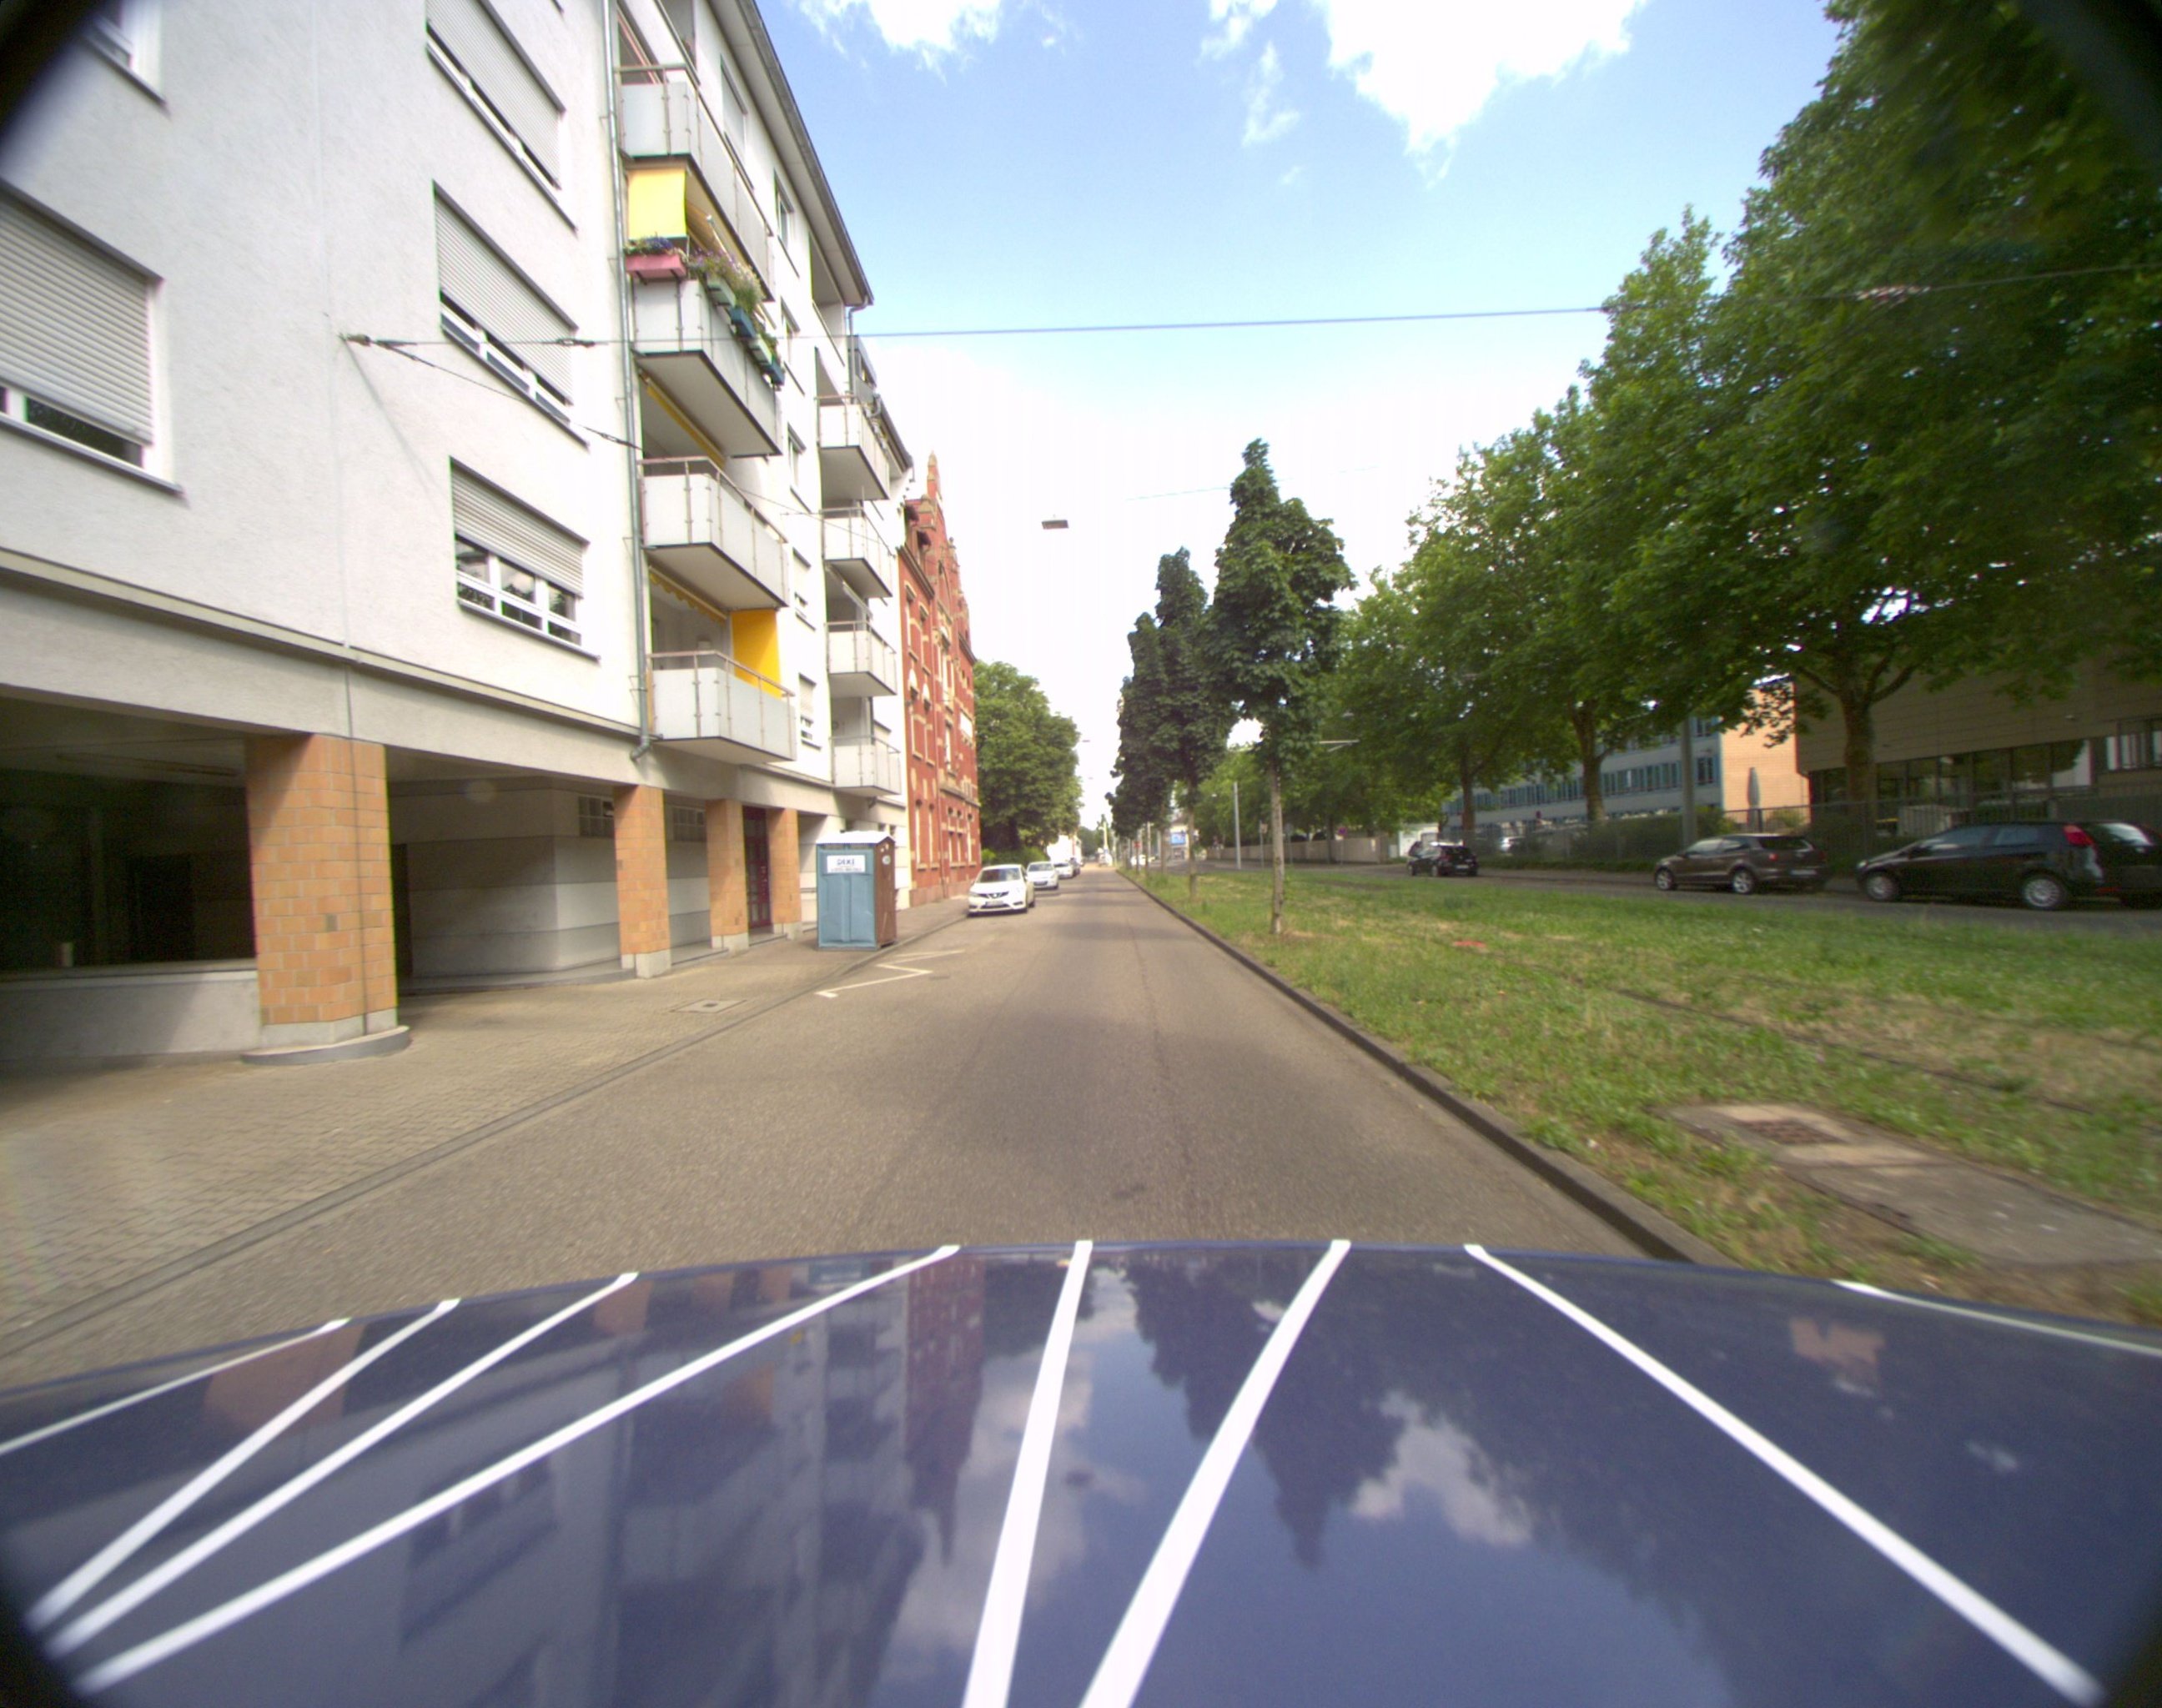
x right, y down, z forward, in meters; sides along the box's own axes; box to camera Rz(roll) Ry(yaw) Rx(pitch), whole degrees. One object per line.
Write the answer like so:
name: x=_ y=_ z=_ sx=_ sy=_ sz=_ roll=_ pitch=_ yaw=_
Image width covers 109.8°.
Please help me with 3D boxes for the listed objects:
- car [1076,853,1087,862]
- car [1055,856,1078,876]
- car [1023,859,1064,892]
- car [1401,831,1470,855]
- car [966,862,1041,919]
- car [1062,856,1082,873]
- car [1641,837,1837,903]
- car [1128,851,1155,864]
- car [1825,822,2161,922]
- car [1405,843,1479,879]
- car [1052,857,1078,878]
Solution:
car: x=0.091 y=0.586 z=136.851 sx=1.801 sy=1.521 sz=4.041 roll=-5 pitch=0 yaw=1
car: x=-1.266 y=1.041 z=67.682 sx=1.801 sy=1.521 sz=4.041 roll=-5 pitch=0 yaw=1
car: x=-1.936 y=1.079 z=40.317 sx=1.801 sy=1.521 sz=4.041 roll=-4 pitch=0 yaw=1
car: x=25.458 y=-0.789 z=54.662 sx=3.997 sy=1.608 sz=2.000 roll=-2 pitch=1 yaw=0
car: x=-2.383 y=1.105 z=24.248 sx=1.801 sy=1.521 sz=4.041 roll=-3 pitch=0 yaw=1
car: x=-0.910 y=1.056 z=79.077 sx=1.801 sy=1.521 sz=4.041 roll=-5 pitch=0 yaw=1
car: x=16.201 y=0.350 z=18.994 sx=1.558 sy=1.417 sz=3.902 roll=-3 pitch=0 yaw=2
car: x=8.243 y=0.403 z=103.291 sx=1.798 sy=1.521 sz=4.048 roll=-3 pitch=0 yaw=35
car: x=16.015 y=0.266 z=13.512 sx=1.807 sy=1.444 sz=4.001 roll=-3 pitch=0 yaw=4
car: x=16.449 y=0.295 z=34.813 sx=1.601 sy=1.455 sz=4.001 roll=-3 pitch=0 yaw=3
car: x=-1.248 y=1.083 z=61.874 sx=1.801 sy=1.521 sz=4.041 roll=-5 pitch=0 yaw=1
